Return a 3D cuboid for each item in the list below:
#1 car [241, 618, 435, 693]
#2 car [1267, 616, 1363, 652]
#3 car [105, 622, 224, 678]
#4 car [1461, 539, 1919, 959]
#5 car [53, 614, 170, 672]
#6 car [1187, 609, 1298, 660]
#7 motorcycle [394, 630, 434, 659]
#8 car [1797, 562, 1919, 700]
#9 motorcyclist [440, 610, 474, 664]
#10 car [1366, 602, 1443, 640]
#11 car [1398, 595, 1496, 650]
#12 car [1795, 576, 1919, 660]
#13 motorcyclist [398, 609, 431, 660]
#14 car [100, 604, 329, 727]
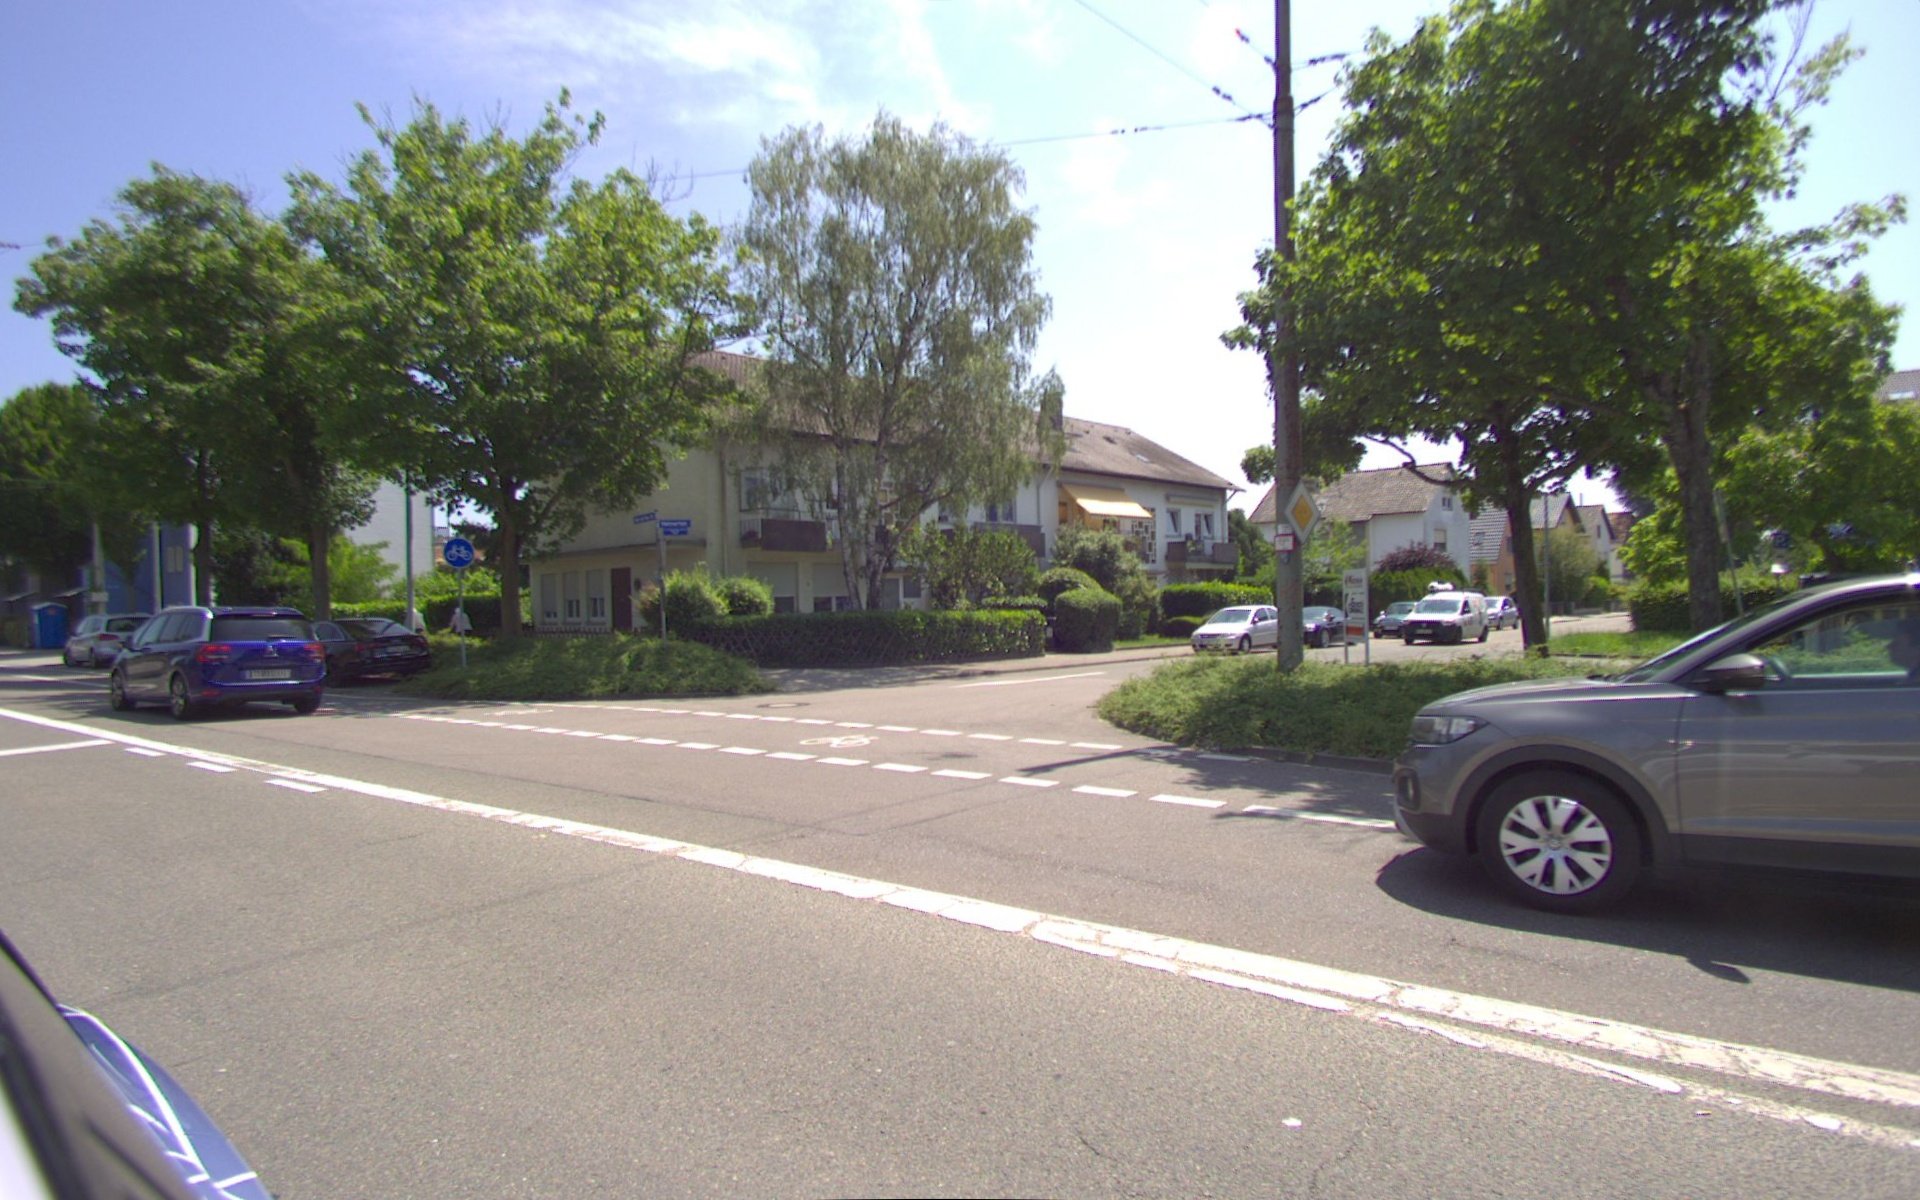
[{"bbox_3d":[-14.104,1.210,22.864,4.796,1.467,1.879,-2,1,34],"label":"car"},{"bbox_3d":[11.773,1.099,33.481,3.694,1.000,1.547,-2,0,-45],"label":"car"},{"bbox_3d":[-23.655,1.448,30.042,4.119,1.498,1.661,-1,1,36],"label":"car"},{"bbox_3d":[4.358,0.565,4.360,3.705,1.587,1.722,-1,-1,36],"label":"car"},{"bbox_3d":[-27.904,1.383,33.237,4.680,1.701,1.953,-1,1,37],"label":"car"},{"bbox_3d":[8.534,0.999,30.398,1.546,1.404,3.851,-2,-1,44],"label":"car"},{"bbox_3d":[-16.957,1.374,31.433,1.368,0.831,0.521,-2,2,37],"label":"motorcycle"},{"bbox_3d":[14.316,0.409,15.428,2.057,1.871,4.408,-2,-1,36],"label":"car"},{"bbox_3d":[-14.787,1.075,29.744,0.661,1.514,0.581,-2,2,37],"label":"motorcyclist"},{"bbox_3d":[17.712,0.818,40.288,1.546,1.404,3.851,-2,-1,44],"label":"car"},{"bbox_3d":[16.605,0.728,34.416,1.741,1.719,4.174,-2,-1,44],"label":"car"},{"bbox_3d":[21.756,0.376,24.706,1.937,1.834,4.662,-2,0,38],"label":"car"},{"bbox_3d":[-16.918,1.058,31.393,0.724,1.514,0.581,-2,2,37],"label":"motorcyclist"},{"bbox_3d":[-11.606,0.931,15.679,4.058,1.669,1.722,-1,-1,36],"label":"car"}]
